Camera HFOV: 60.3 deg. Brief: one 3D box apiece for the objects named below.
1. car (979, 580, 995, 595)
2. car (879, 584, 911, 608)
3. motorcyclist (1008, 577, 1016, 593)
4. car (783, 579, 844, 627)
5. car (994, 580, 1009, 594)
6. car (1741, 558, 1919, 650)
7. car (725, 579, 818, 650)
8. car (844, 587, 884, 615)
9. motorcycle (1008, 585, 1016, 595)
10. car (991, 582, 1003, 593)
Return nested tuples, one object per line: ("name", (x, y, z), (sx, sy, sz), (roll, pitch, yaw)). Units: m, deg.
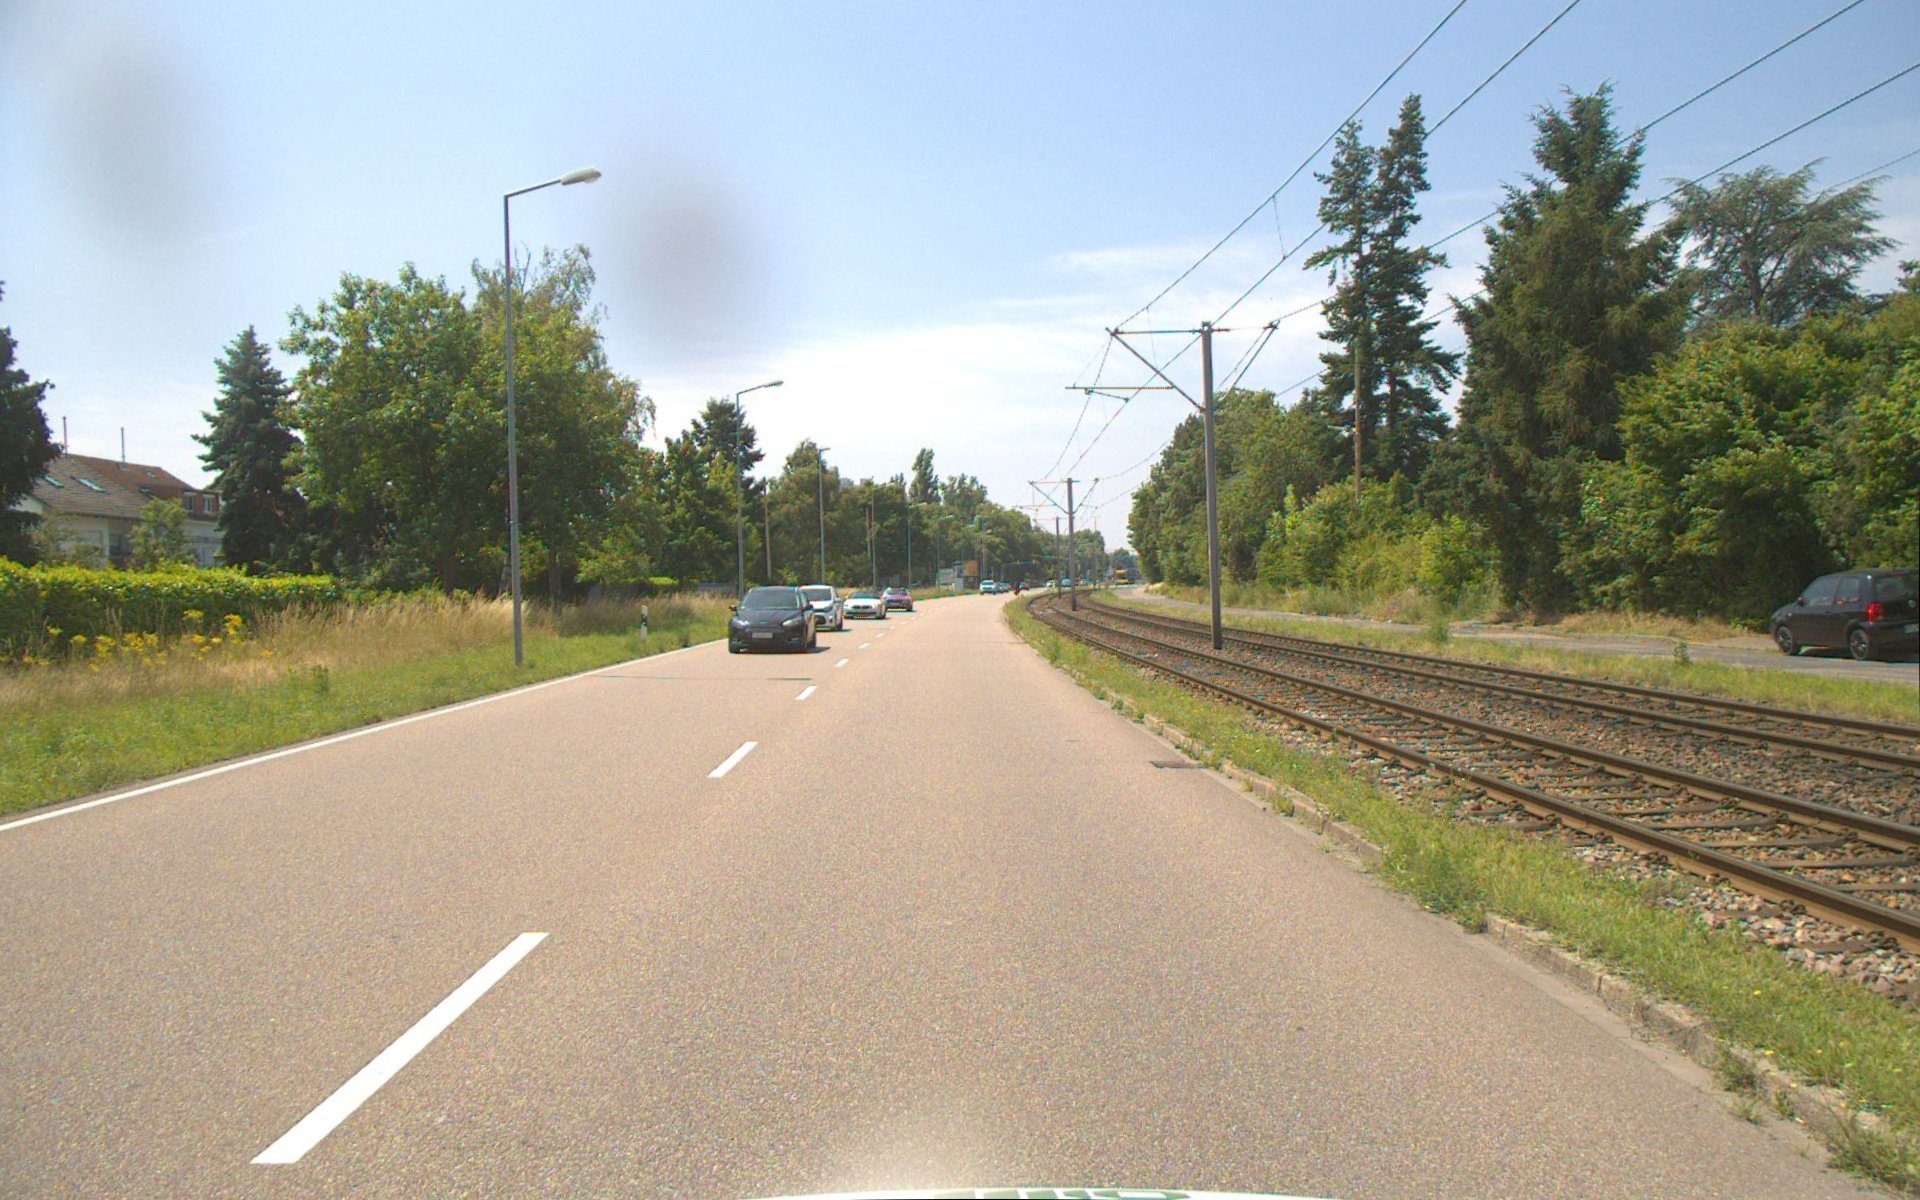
("car", (3.423, -1.628, 209.534), (1.895, 1.827, 4.713), (-1, 0, 2))
("car", (-3.704, -0.218, 94.919), (1.713, 1.324, 4.253), (-1, 0, 0))
("motorcyclist", (6.423, -1.793, 203.691), (0.873, 1.938, 1.016), (-1, 0, 3))
("car", (-4.864, 0.081, 55.214), (1.711, 1.529, 3.707), (-1, 0, -1))
("car", (5.643, -1.740, 225.638), (1.895, 1.827, 4.713), (-1, 0, 2))
("car", (15.682, 0.046, 29.183), (1.875, 1.496, 3.999), (-1, 0, -1))
("car", (-4.316, 0.306, 38.404), (1.666, 1.517, 4.439), (-1, 0, -1))
("car", (-4.396, 0.037, 76.109), (1.648, 1.271, 3.909), (-1, 0, 0))
("motorcycle", (6.425, -1.221, 203.577), (0.950, 1.137, 2.734), (-1, 0, 4))
("car", (5.661, -1.899, 251.533), (1.779, 1.519, 4.365), (-1, 0, 2))
